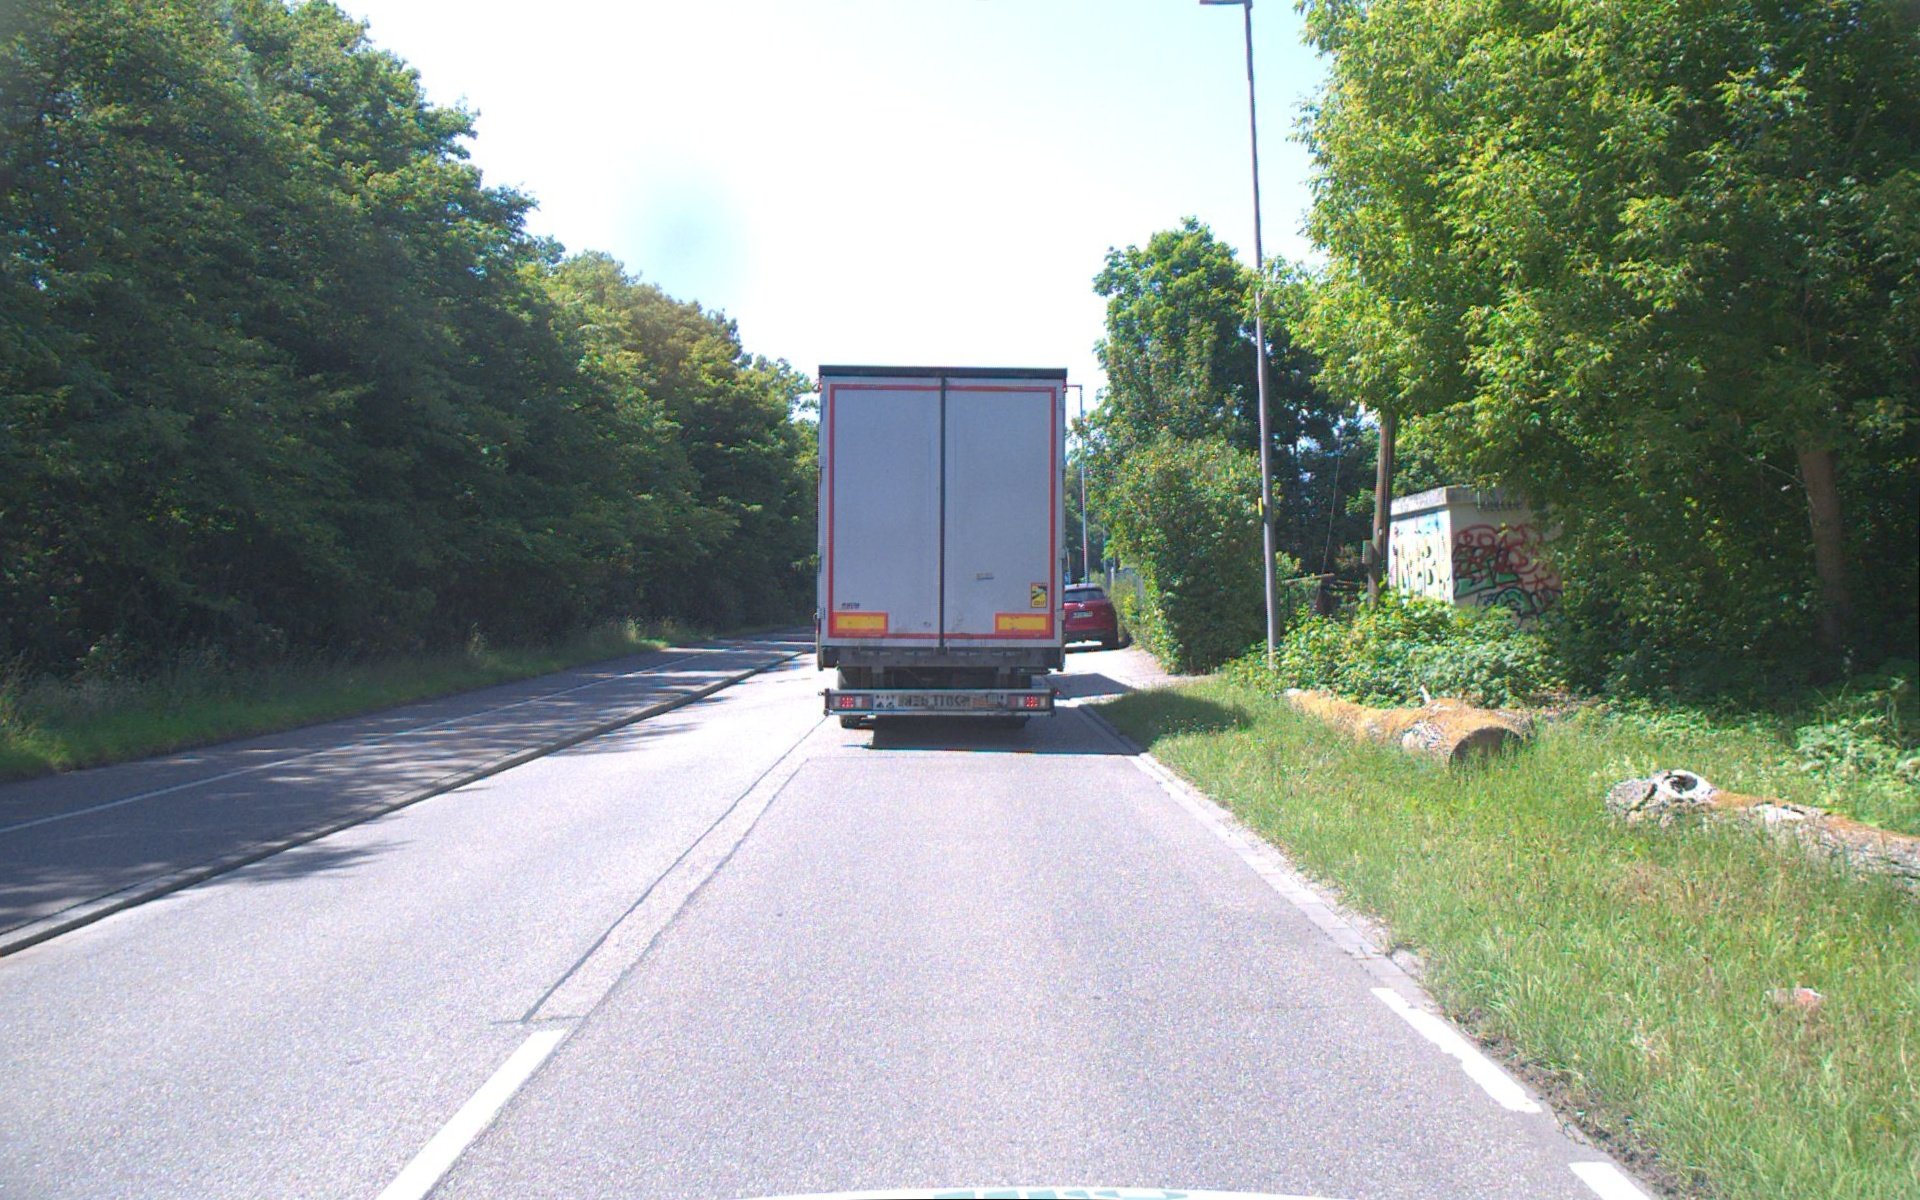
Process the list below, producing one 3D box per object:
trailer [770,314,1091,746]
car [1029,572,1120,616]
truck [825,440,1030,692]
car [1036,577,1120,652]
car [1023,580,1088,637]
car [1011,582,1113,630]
[{"bbox_3d":[-0.412,-0.732,22.093,3.050,4.174,11.533,-2,0,-1],"label":"trailer"},{"bbox_3d":[5.529,-0.297,79.902,4.169,1.727,1.854,-5,0,4],"label":"car"},{"bbox_3d":[-0.586,-0.548,28.672,3.051,3.790,6.411,-2,0,-2],"label":"truck"},{"bbox_3d":[3.001,0.337,42.925,1.753,1.686,4.453,-6,0,1],"label":"car"},{"bbox_3d":[3.016,0.225,52.956,1.753,1.631,4.130,-3,1,0],"label":"car"},{"bbox_3d":[4.605,0.257,75.260,4.380,1.733,1.914,-6,0,0],"label":"car"}]
